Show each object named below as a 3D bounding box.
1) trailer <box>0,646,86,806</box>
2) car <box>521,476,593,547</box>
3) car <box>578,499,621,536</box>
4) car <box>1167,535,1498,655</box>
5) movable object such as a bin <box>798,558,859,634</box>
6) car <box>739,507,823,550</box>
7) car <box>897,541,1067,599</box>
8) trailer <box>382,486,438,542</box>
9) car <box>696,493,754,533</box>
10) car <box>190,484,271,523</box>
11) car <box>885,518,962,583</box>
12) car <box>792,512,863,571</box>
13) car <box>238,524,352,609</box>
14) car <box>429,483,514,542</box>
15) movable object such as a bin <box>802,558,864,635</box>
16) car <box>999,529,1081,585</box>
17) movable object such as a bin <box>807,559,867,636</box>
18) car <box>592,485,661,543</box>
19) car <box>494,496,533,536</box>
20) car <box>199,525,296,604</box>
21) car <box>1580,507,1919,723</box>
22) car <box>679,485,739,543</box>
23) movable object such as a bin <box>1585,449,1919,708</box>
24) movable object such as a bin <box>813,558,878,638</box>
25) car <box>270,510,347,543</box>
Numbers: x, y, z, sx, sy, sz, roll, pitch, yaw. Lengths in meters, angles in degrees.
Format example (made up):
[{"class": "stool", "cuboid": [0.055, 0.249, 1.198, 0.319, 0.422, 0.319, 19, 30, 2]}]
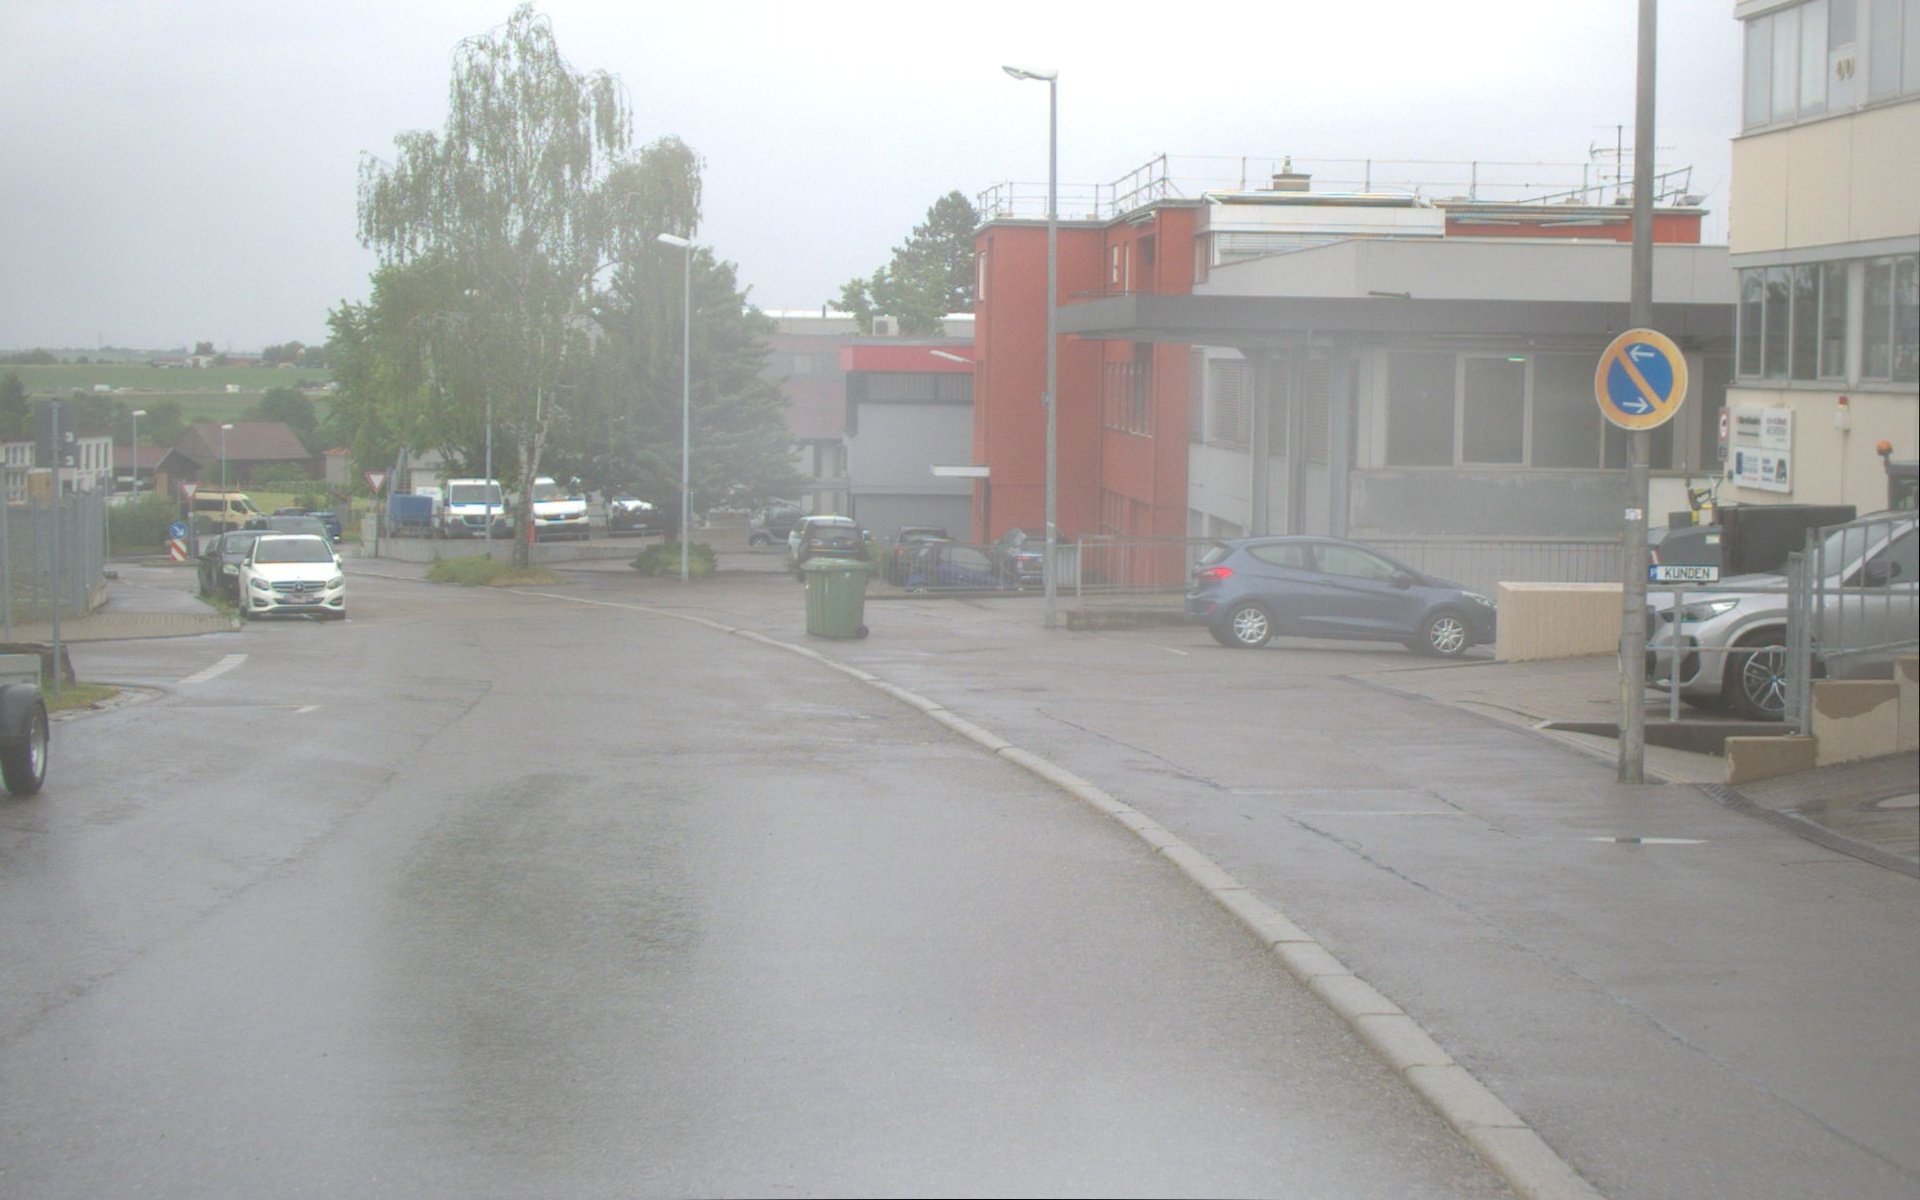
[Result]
[{"class": "trailer", "cuboid": [-6.556, 0.762, 21.120, 1.680, 0.885, 3.898, 0, 0, -5]}, {"class": "car", "cuboid": [-14.378, -3.130, 122.493, 2.192, 2.451, 4.001, 0, 0, -12]}, {"class": "car", "cuboid": [-13.543, -3.098, 129.157, 1.398, 1.321, 2.702, 0, 0, -10]}, {"class": "car", "cuboid": [4.720, -0.070, 43.878, 3.894, 1.379, 1.821, 2, 0, -4]}, {"class": "movable object such as a bin", "cuboid": [-1.900, -0.060, 49.565, 0.808, 1.073, 0.582, -1, 1, -9]}, {"class": "car", "cuboid": [-5.739, -2.292, 110.197, 2.547, 1.347, 1.242, 0, 1, -9]}, {"class": "car", "cuboid": [0.431, -0.621, 70.573, 3.400, 1.159, 1.792, 0, 1, -2]}, {"class": "trailer", "cuboid": [-20.113, -3.149, 125.707, 1.852, 2.007, 4.001, 0, 1, -11]}, {"class": "car", "cuboid": [-8.918, -3.291, 130.057, 1.636, 1.448, 3.512, 0, 0, -13]}, {"class": "car", "cuboid": [-42.402, -5.592, 199.823, 4.241, 2.218, 2.000, 0, 0, 2]}, {"class": "car", "cuboid": [-0.964, -1.272, 89.025, 1.739, 1.648, 4.001, 0, 0, -4]}, {"class": "car", "cuboid": [-3.426, -1.479, 88.193, 1.697, 1.470, 4.001, 0, 0, -4]}, {"class": "car", "cuboid": [-12.501, -0.623, 64.456, 1.769, 1.507, 4.146, -1, 1, -15]}, {"class": "car", "cuboid": [-17.351, -3.074, 121.868, 2.264, 2.007, 4.001, 0, 0, -19]}, {"class": "movable object such as a bin", "cuboid": [-1.812, -0.054, 49.010, 0.809, 1.087, 0.542, -1, 1, -9]}, {"class": "car", "cuboid": [2.026, -1.094, 88.249, 1.728, 1.417, 4.001, 0, 0, -4]}, {"class": "movable object such as a bin", "cuboid": [-1.738, -0.040, 48.439, 0.775, 1.072, 0.584, -1, 1, -9]}, {"class": "car", "cuboid": [-11.998, -3.087, 123.616, 2.145, 2.007, 3.940, 0, 0, -10]}, {"class": "car", "cuboid": [-16.619, -3.120, 127.959, 1.290, 1.419, 2.547, 0, 0, -10]}, {"class": "car", "cuboid": [-15.579, -0.792, 75.061, 1.700, 1.604, 4.001, -2, 2, -16]}, {"class": "car", "cuboid": [7.648, 0.074, 27.166, 5.090, 1.608, 1.925, -1, 2, -4]}, {"class": "car", "cuboid": [-9.065, -3.092, 124.145, 1.780, 2.007, 3.633, 0, 0, -10]}, {"class": "movable object such as a bin", "cuboid": [7.554, -0.201, 29.025, 4.254, 2.103, 1.477, 0, 1, -3]}, {"class": "movable object such as a bin", "cuboid": [-1.595, -0.032, 47.799, 0.806, 1.089, 0.709, -1, 1, -9]}, {"class": "car", "cuboid": [-31.571, -3.534, 166.492, 2.460, 1.534, 4.000, 0, 0, -30]}]
